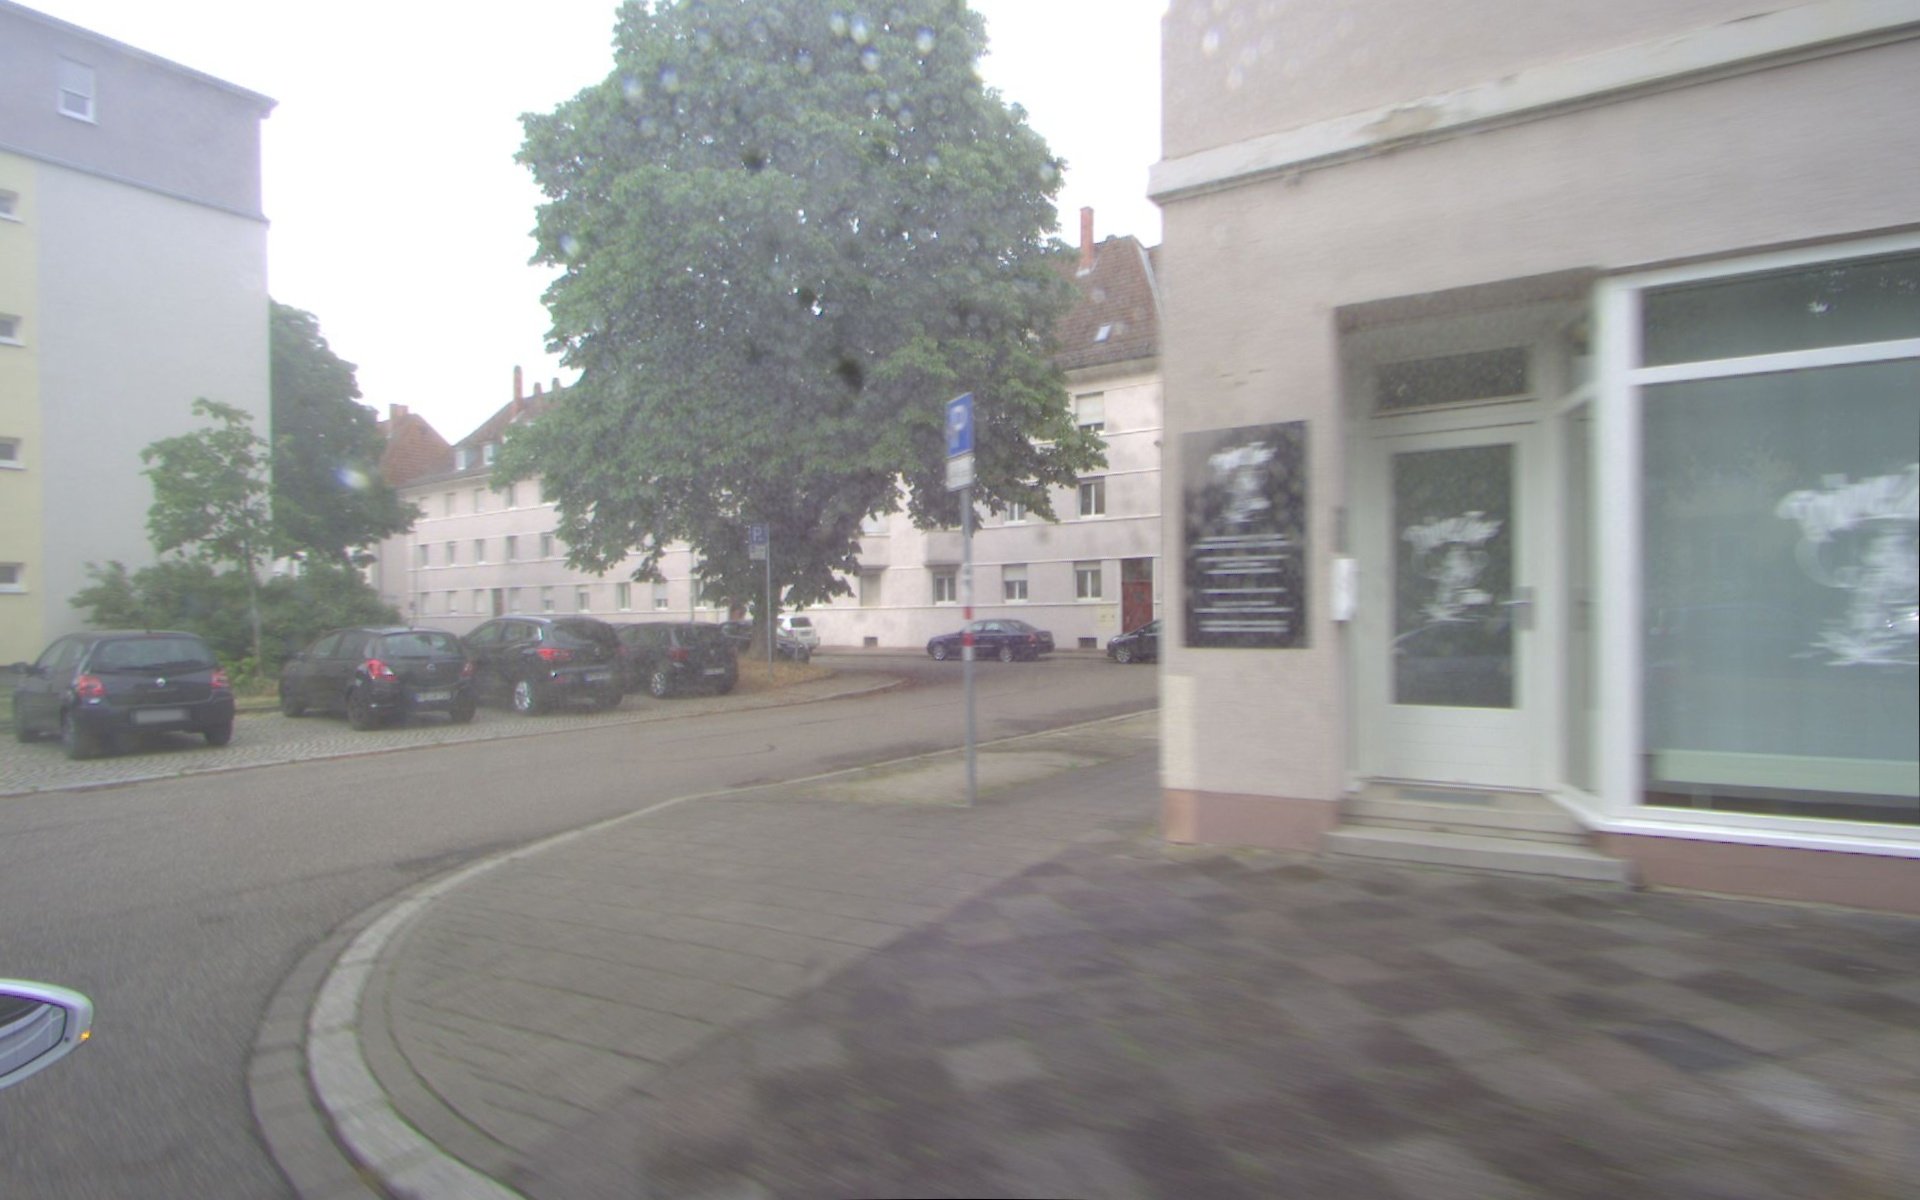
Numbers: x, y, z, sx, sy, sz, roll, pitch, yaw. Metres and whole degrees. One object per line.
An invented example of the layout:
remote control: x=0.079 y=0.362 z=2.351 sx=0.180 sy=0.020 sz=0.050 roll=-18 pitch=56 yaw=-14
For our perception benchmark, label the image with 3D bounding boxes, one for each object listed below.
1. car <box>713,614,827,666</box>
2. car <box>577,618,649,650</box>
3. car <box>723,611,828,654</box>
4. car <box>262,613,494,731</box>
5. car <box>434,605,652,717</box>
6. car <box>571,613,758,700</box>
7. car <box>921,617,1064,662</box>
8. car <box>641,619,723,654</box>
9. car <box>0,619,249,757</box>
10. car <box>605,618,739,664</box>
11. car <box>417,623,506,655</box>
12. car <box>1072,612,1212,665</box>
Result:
car: x=-5.917 y=1.241 z=31.026 sx=3.547 sy=1.512 sz=1.519 roll=-1 pitch=-3 yaw=38
car: x=-16.777 y=1.636 z=48.426 sx=3.649 sy=1.493 sz=1.561 roll=-1 pitch=-1 yaw=38
car: x=-7.800 y=1.327 z=42.222 sx=4.230 sy=1.696 sz=1.838 roll=-1 pitch=1 yaw=34
car: x=-9.344 y=1.023 z=15.942 sx=4.304 sy=1.586 sz=1.828 roll=0 pitch=0 yaw=39
car: x=-7.408 y=0.973 z=17.646 sx=4.019 sy=1.720 sz=1.902 roll=0 pitch=0 yaw=39
car: x=-6.089 y=1.085 z=20.489 sx=3.795 sy=1.598 sz=1.818 roll=-1 pitch=0 yaw=38
car: x=1.101 y=1.330 z=35.231 sx=4.882 sy=1.440 sz=1.740 roll=0 pitch=0 yaw=34
car: x=-12.535 y=1.619 z=45.077 sx=3.821 sy=1.498 sz=1.562 roll=-1 pitch=0 yaw=37
car: x=-11.267 y=1.024 z=13.327 sx=4.504 sy=1.483 sz=1.828 roll=0 pitch=0 yaw=39
car: x=-9.890 y=1.395 z=34.203 sx=4.771 sy=1.483 sz=1.863 roll=-1 pitch=-3 yaw=37
car: x=-20.872 y=1.602 z=41.863 sx=3.962 sy=1.274 sz=1.692 roll=-1 pitch=-3 yaw=36
car: x=5.769 y=1.177 z=31.877 sx=4.023 sy=1.545 sz=1.752 roll=0 pitch=0 yaw=34
